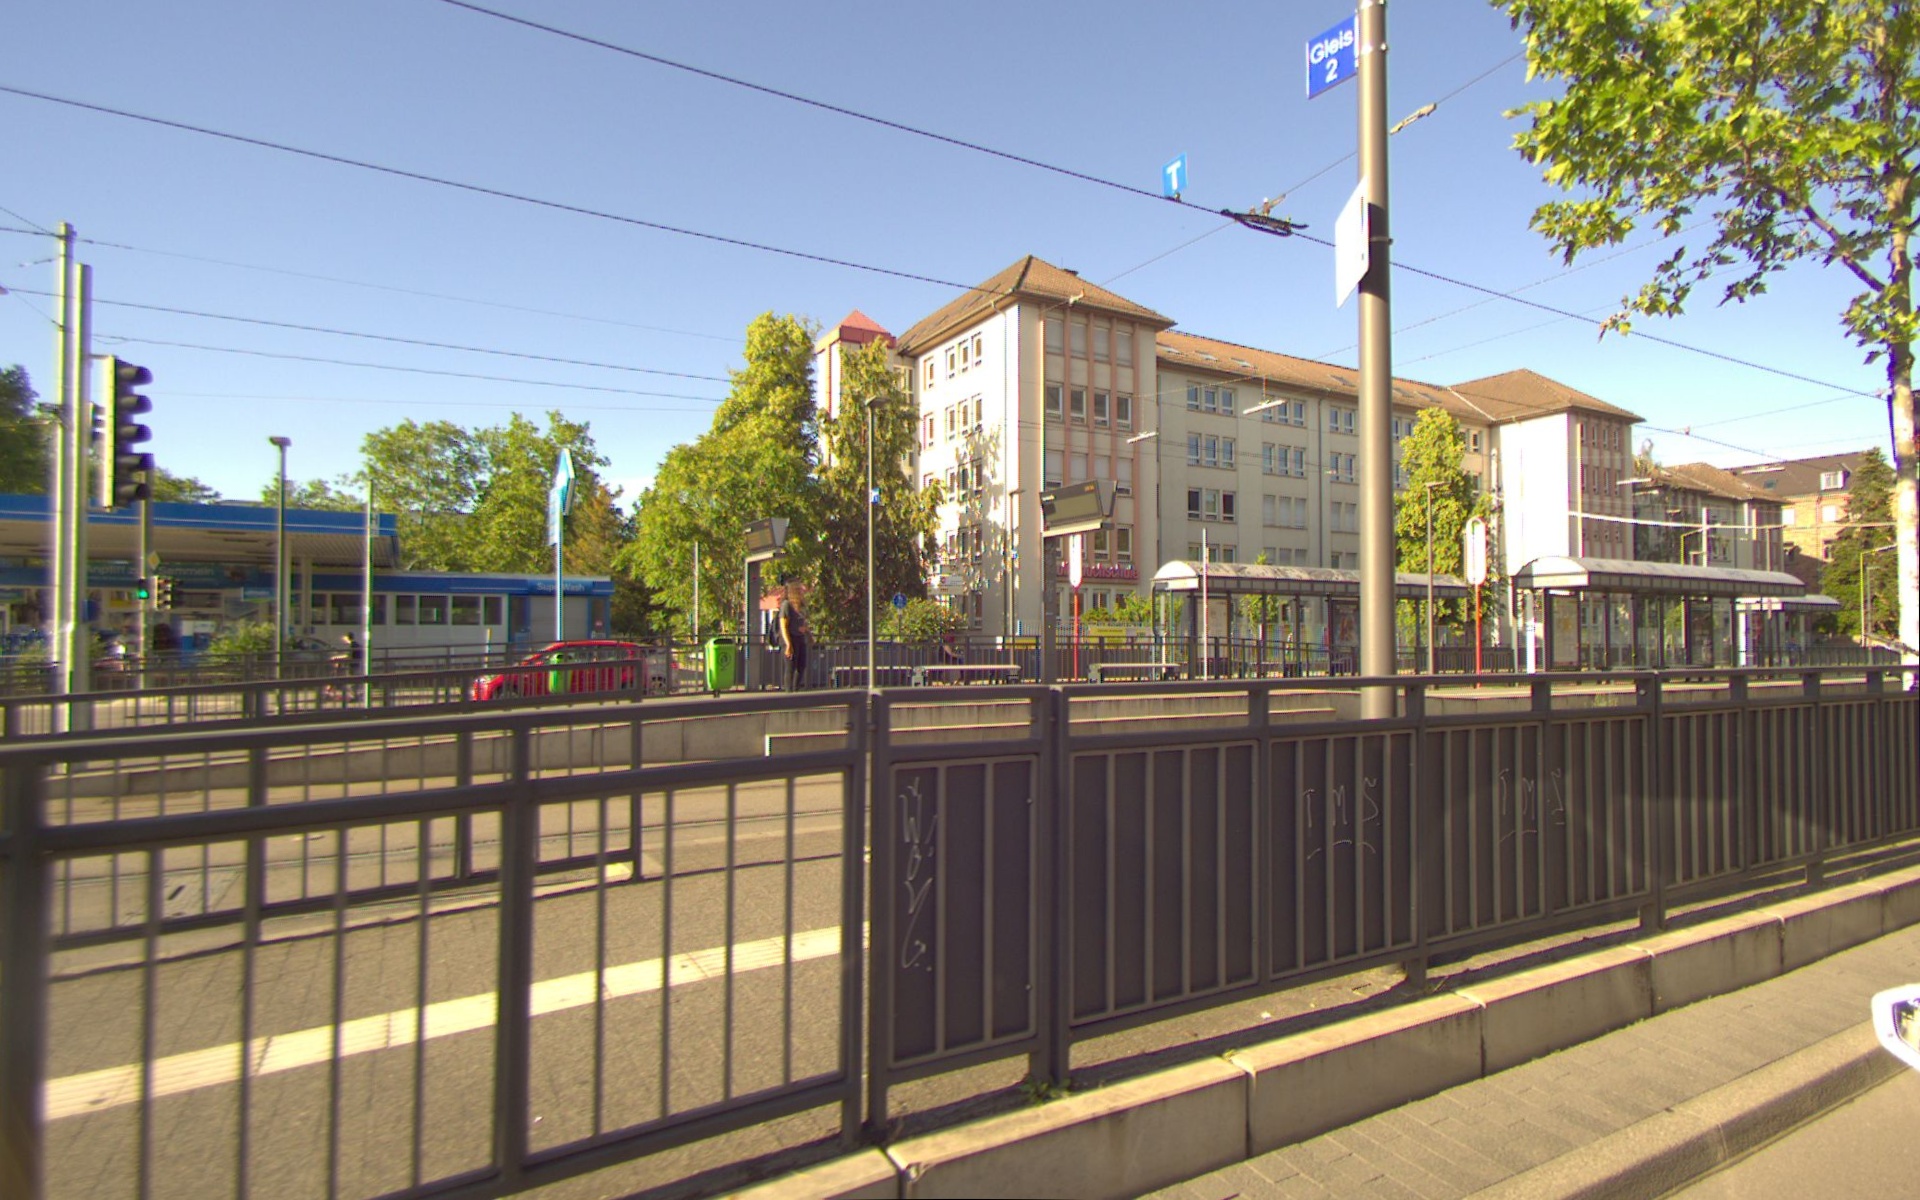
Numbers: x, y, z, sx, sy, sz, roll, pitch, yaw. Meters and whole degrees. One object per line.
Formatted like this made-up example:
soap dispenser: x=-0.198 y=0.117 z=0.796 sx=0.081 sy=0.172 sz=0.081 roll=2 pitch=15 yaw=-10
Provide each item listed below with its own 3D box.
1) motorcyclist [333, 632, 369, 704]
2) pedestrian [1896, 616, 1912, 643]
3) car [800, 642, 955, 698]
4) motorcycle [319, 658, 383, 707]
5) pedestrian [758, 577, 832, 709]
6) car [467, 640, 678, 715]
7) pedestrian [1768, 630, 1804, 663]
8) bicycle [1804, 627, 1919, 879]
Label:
motorcyclist: x=-16.083 y=1.790 z=26.541 sx=0.735 sy=1.877 sz=0.549 roll=1 pitch=-2 yaw=-26
pedestrian: x=66.005 y=2.066 z=70.242 sx=0.566 sy=1.861 sz=0.689 roll=1 pitch=-2 yaw=-30
car: x=-2.281 y=1.905 z=27.917 sx=3.950 sy=1.439 sz=1.790 roll=1 pitch=-2 yaw=-28
motorcycle: x=-16.072 y=2.163 z=26.543 sx=1.369 sy=1.261 sz=0.548 roll=1 pitch=-2 yaw=-26
pedestrian: x=-2.093 y=0.538 z=12.734 sx=0.726 sy=1.613 sz=0.681 roll=1 pitch=-2 yaw=-29
car: x=-8.146 y=1.563 z=21.164 sx=3.950 sy=1.439 sz=1.790 roll=1 pitch=-2 yaw=-28
pedestrian: x=36.048 y=2.012 z=43.837 sx=0.869 sy=1.394 sz=0.970 roll=1 pitch=-2 yaw=-30
bicycle: x=6.173 y=0.877 z=6.282 sx=2.143 sy=1.397 sz=0.637 roll=1 pitch=-2 yaw=-29
